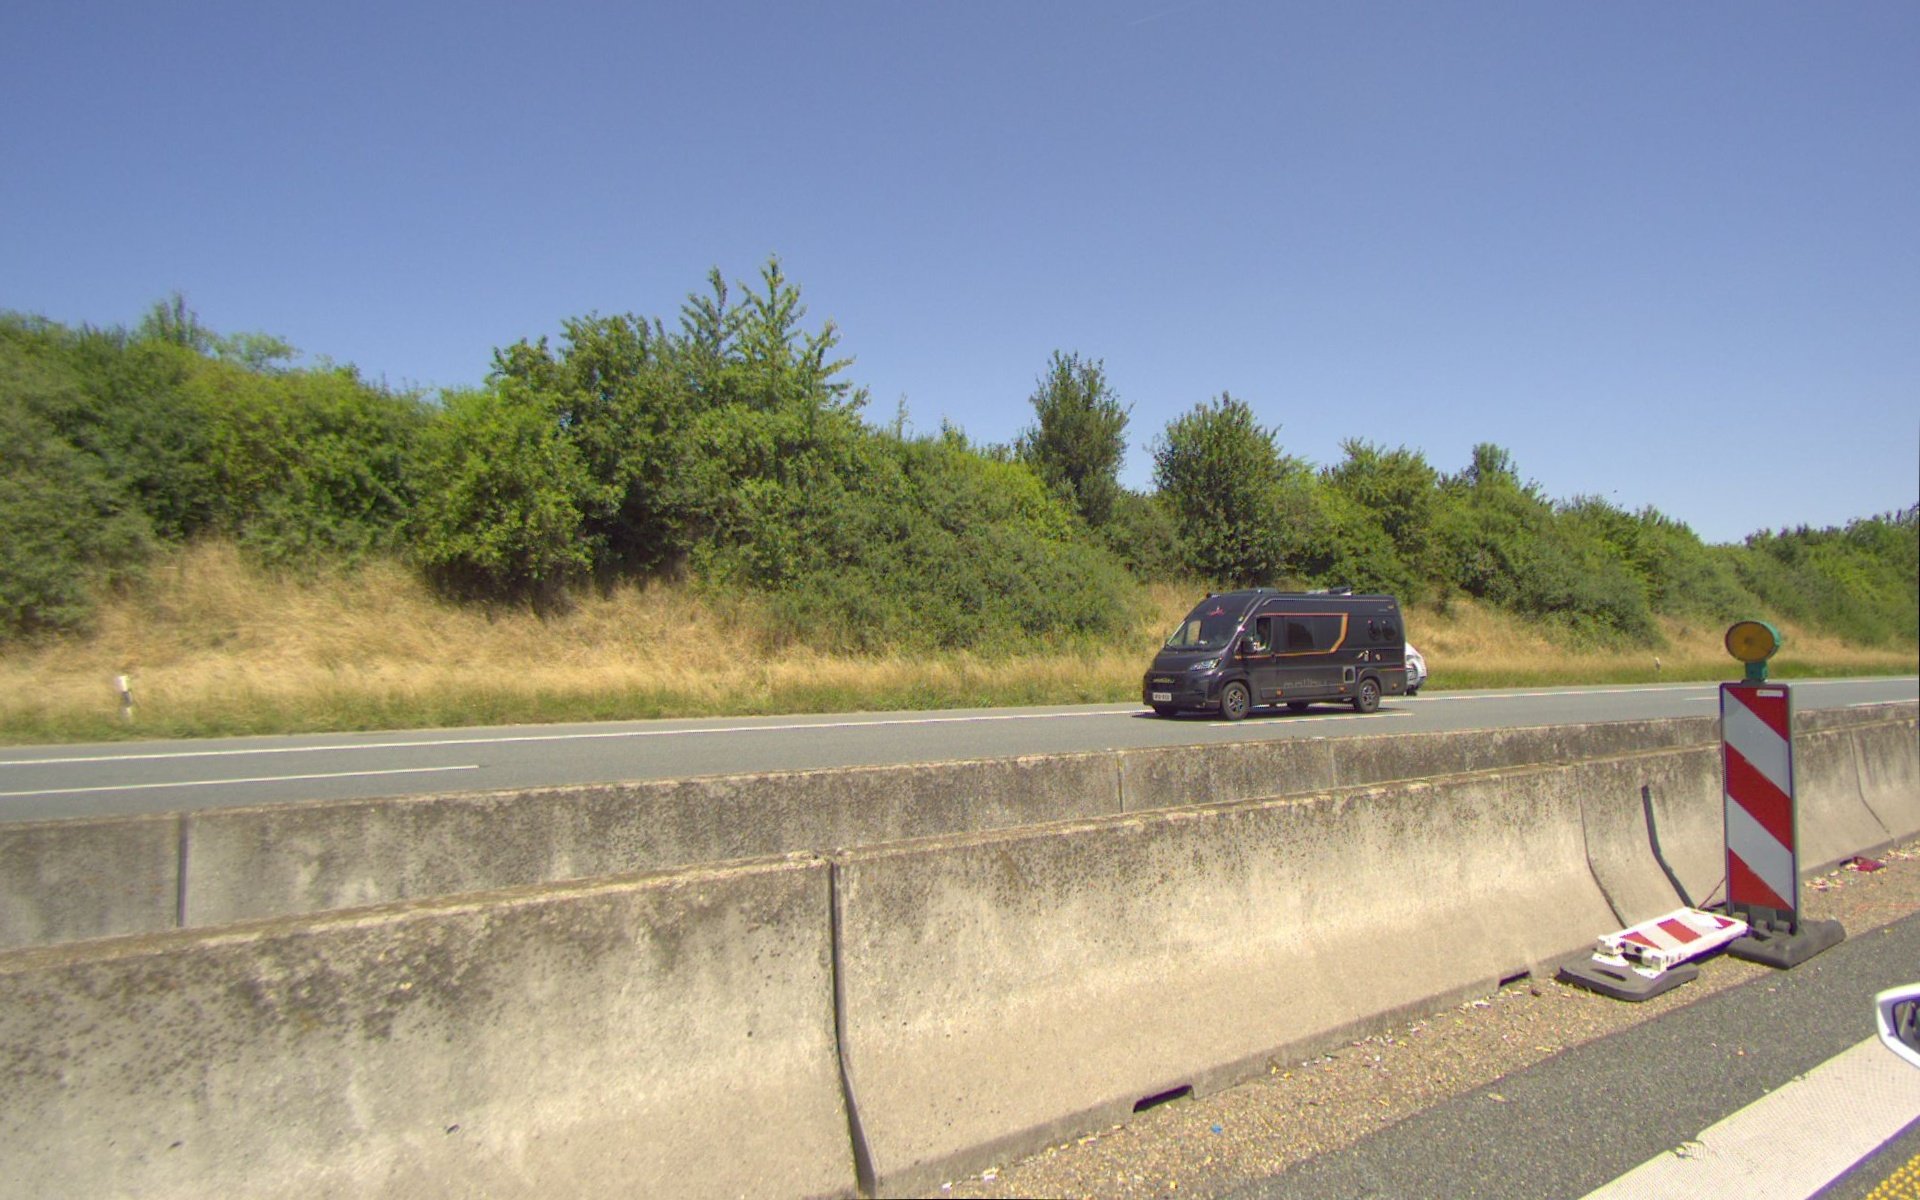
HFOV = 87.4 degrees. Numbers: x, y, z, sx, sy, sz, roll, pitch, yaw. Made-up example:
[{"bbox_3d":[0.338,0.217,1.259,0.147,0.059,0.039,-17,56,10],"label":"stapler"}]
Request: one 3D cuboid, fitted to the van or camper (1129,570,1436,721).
[{"bbox_3d":[6.929,0.988,21.146,7.004,2.746,2.210,2,-4,-33],"label":"van or camper"}]
